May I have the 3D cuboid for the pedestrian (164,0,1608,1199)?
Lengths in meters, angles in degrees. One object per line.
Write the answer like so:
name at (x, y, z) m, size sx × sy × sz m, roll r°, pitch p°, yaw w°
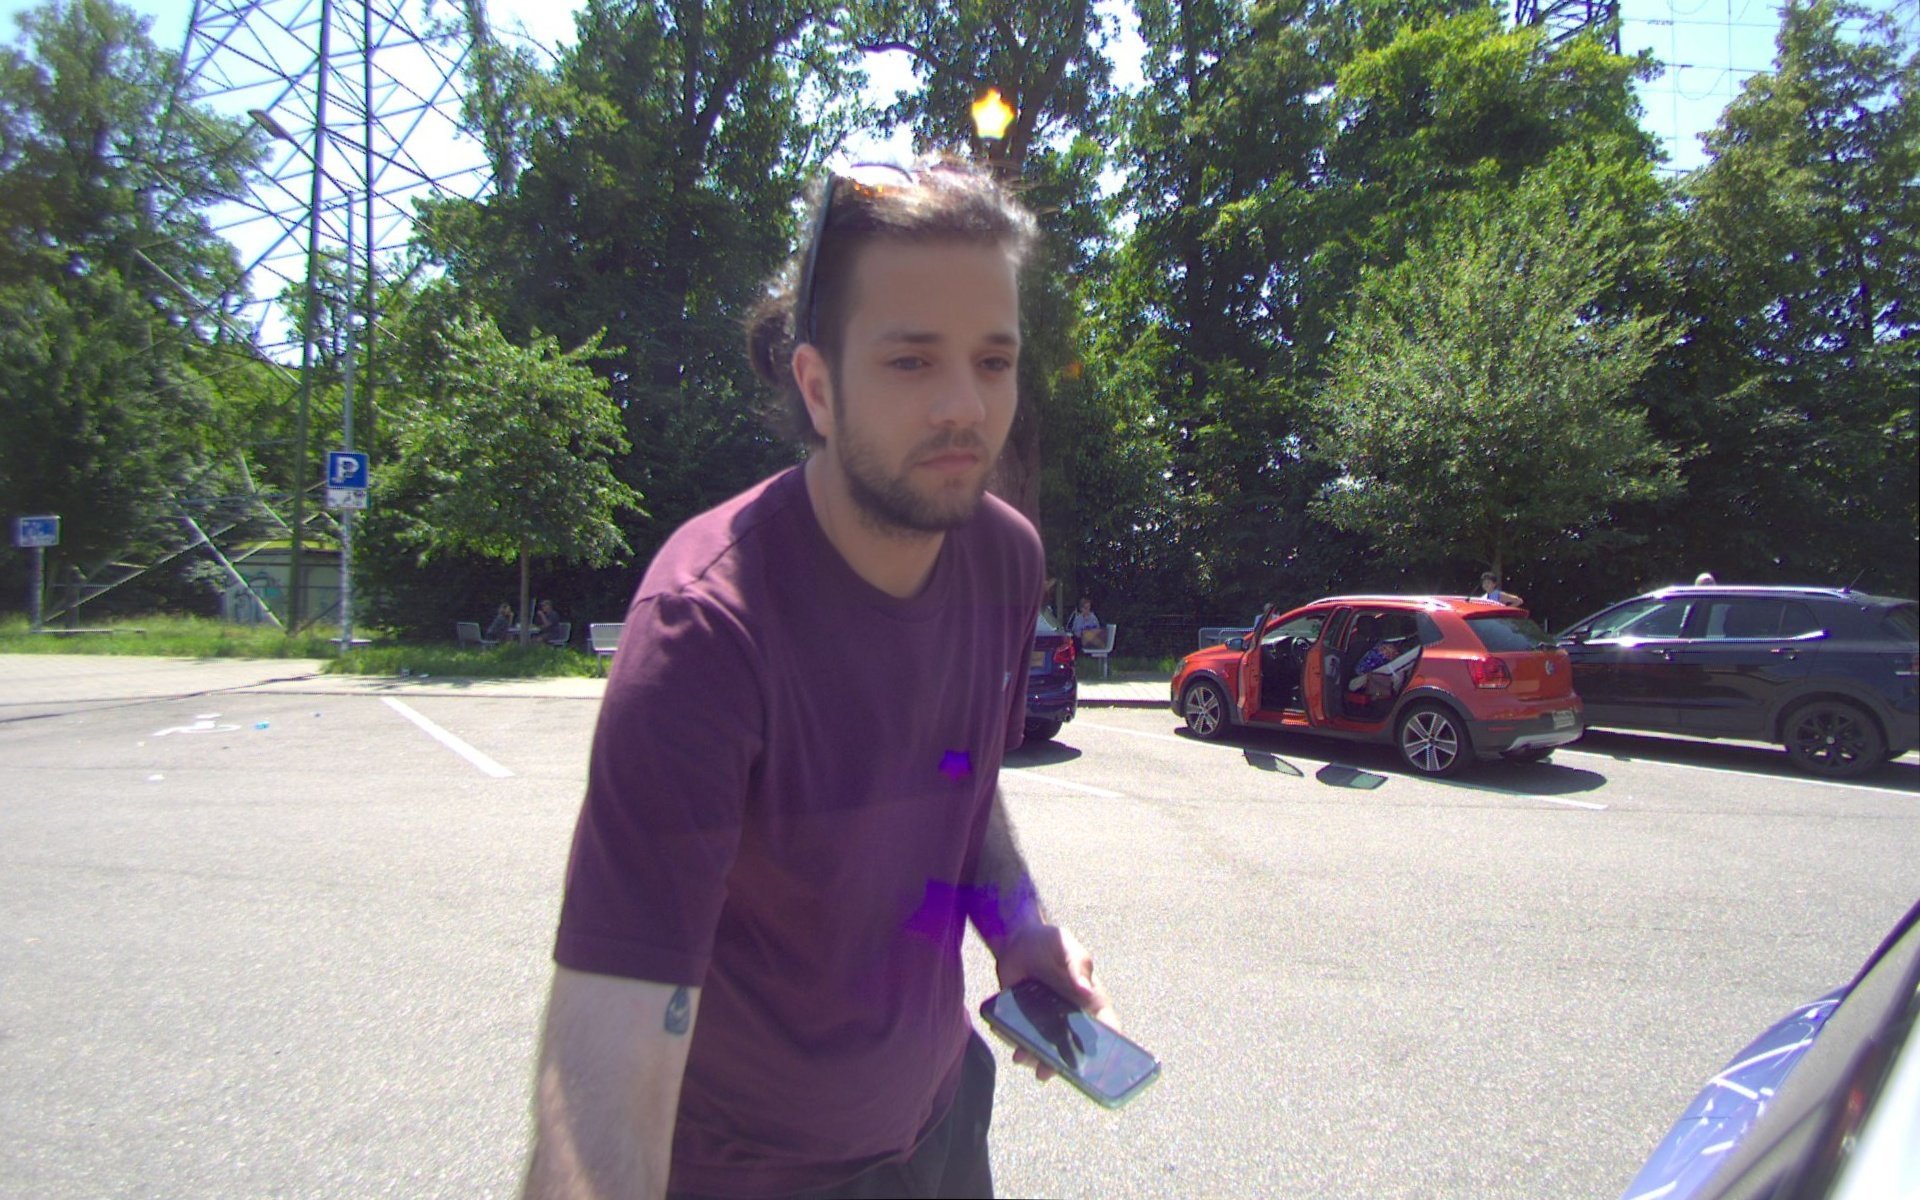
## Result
pedestrian at (-0.039, 0.400, 0.868) m, size 0.828 × 1.797 × 0.926 m, roll 0°, pitch -1°, yaw 45°

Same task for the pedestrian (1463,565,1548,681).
pedestrian at (7.833, 0.324, 14.556) m, size 0.793 × 1.614 × 0.716 m, roll 1°, pitch -1°, yaw -4°

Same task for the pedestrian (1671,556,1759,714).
pedestrian at (9.365, 0.417, 12.580) m, size 0.672 × 1.889 × 0.710 m, roll 0°, pitch -1°, yaw 19°

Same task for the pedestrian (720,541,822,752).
pedestrian at (-1.771, 0.407, 9.426) m, size 0.700 × 1.851 × 0.906 m, roll 1°, pitch -1°, yaw -26°

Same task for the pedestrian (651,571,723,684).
pedestrian at (-4.058, 0.398, 15.028) m, size 0.761 × 1.614 × 0.809 m, roll 1°, pitch -1°, yaw -37°

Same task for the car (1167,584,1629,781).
car at (3.937, 0.619, 9.650) m, size 1.746 × 1.475 × 3.710 m, roll 1°, pitch 0°, yaw -33°

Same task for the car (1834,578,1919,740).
car at (10.940, 0.597, 9.385) m, size 1.745 × 1.612 × 3.972 m, roll 1°, pitch 0°, yaw -32°

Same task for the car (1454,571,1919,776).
car at (7.219, 0.573, 9.837) m, size 1.807 × 1.612 × 3.967 m, roll 1°, pitch 0°, yaw -38°

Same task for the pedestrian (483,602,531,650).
pedestrian at (-10.264, 0.575, 22.930) m, size 0.796 × 1.062 × 0.714 m, roll 1°, pitch -1°, yaw -43°

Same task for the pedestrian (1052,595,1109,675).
pedestrian at (2.000, 0.572, 16.908) m, size 0.656 × 1.311 × 0.832 m, roll 1°, pitch -1°, yaw -17°

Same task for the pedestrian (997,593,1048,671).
pedestrian at (1.053, 0.535, 17.185) m, size 0.656 × 1.285 × 0.655 m, roll 1°, pitch -1°, yaw -17°

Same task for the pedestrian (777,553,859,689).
pedestrian at (-1.936, 0.275, 13.799) m, size 0.786 × 1.784 × 0.809 m, roll 1°, pitch -1°, yaw -39°

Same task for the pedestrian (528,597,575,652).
pedestrian at (-9.534, 0.562, 23.622) m, size 0.796 × 1.253 × 0.713 m, roll 1°, pitch -1°, yaw -44°

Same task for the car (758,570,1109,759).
car at (-0.473, 0.542, 10.698) m, size 1.809 × 1.588 × 4.017 m, roll 1°, pitch 0°, yaw -35°
